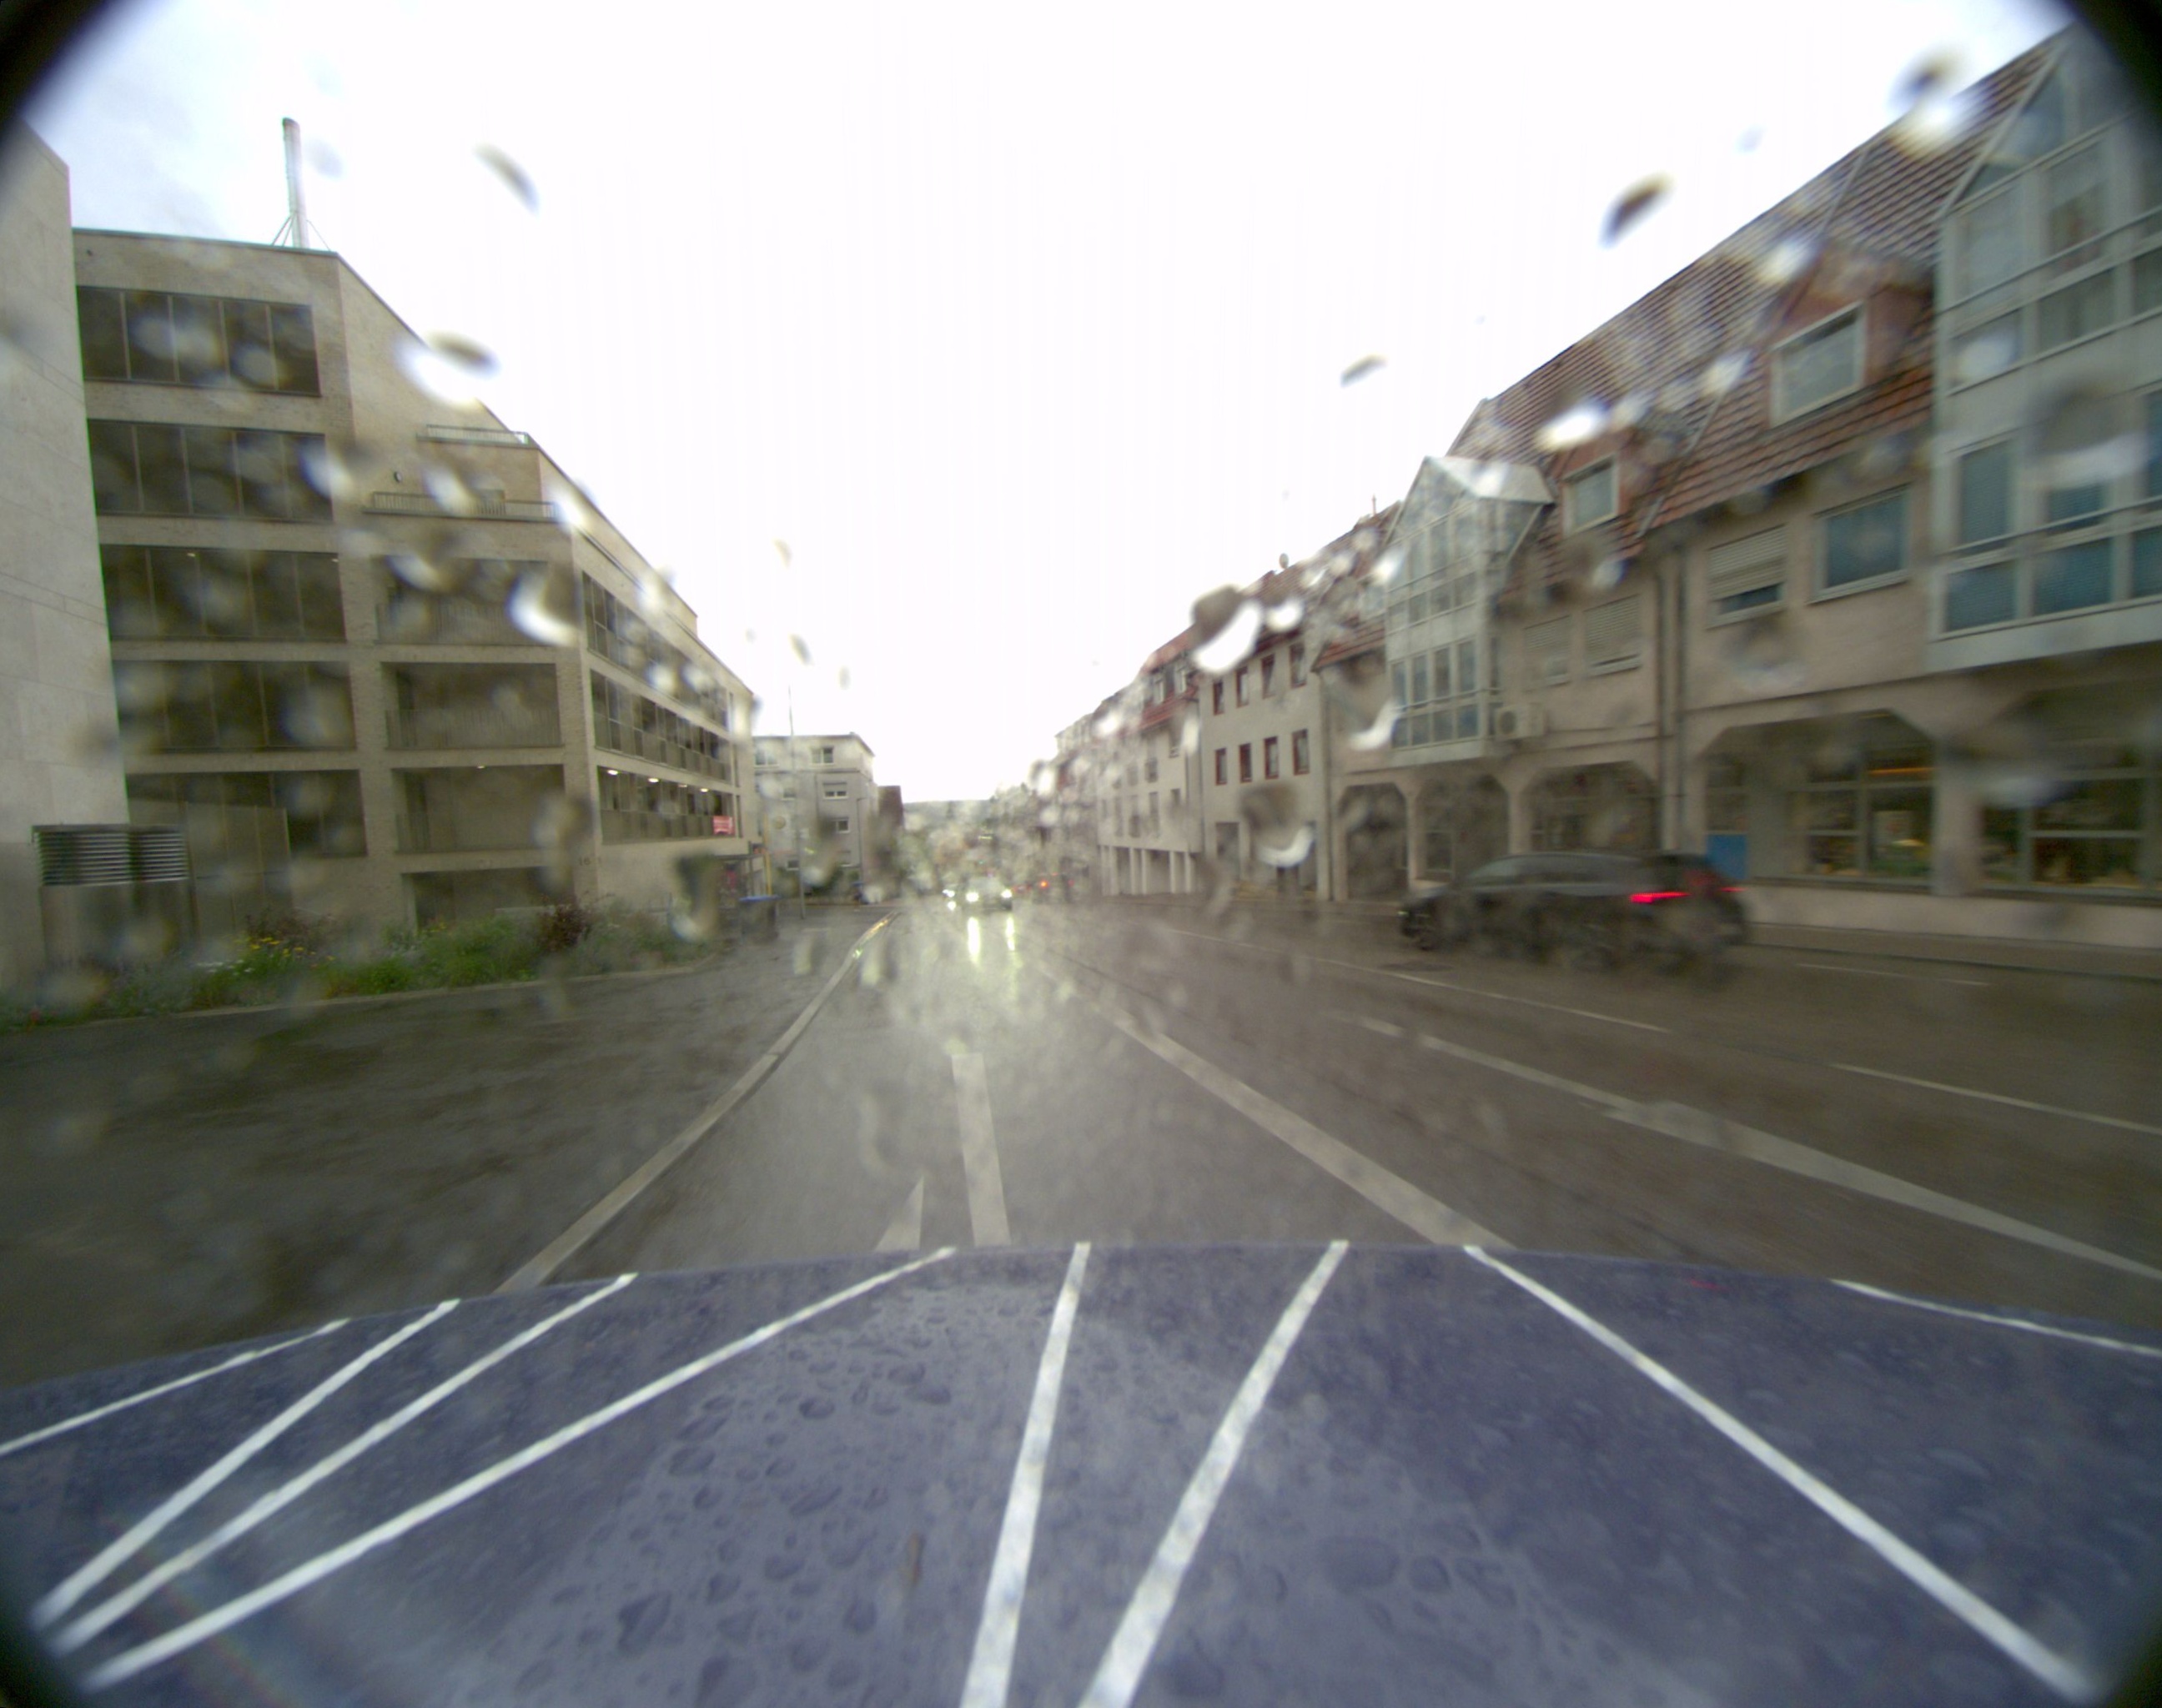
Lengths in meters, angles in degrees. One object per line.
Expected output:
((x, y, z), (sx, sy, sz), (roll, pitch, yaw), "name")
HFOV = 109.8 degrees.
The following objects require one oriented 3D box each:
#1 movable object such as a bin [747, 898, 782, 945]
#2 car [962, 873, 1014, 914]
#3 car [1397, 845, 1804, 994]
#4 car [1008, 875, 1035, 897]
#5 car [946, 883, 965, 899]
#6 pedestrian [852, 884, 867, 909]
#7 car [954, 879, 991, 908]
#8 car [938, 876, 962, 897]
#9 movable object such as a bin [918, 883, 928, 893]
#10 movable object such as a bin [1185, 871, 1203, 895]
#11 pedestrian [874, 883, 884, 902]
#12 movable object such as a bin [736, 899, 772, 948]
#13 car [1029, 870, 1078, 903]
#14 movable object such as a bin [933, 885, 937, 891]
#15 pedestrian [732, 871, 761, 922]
((-7.516, 1.593, 18.060), (0.597, 1.056, 0.578), (-3, -1, -11), "movable object such as a bin")
((-4.117, 1.659, 33.125), (1.969, 1.548, 4.620), (-3, -1, -9), "car")
((6.296, 0.708, 9.842), (1.894, 1.458, 3.994), (-2, -1, -18), "car")
((-4.484, 2.414, 57.118), (1.564, 1.526, 3.446), (-2, -2, -12), "car")
((-14.060, 4.168, 85.564), (1.969, 1.597, 4.382), (-3, -3, -9), "car")
((-13.608, 2.597, 46.664), (0.738, 1.532, 1.037), (0, -1, -7), "pedestrian")
((-7.295, 2.637, 50.654), (1.969, 1.759, 4.381), (-3, -3, -13), "car")
((-11.364, 2.853, 66.129), (1.969, 1.597, 4.382), (-3, -3, -9), "car")
((-21.698, 4.663, 104.151), (1.239, 1.327, 1.172), (-2, -2, -8), "movable object such as a bin")
((4.961, 1.284, 33.400), (0.510, 1.000, 0.584), (-4, -1, -14), "movable object such as a bin")
((-16.549, 3.149, 62.149), (0.693, 1.546, 0.710), (-4, -1, -16), "pedestrian")
((-7.438, 1.574, 17.304), (0.597, 1.056, 0.578), (-3, -1, -11), "movable object such as a bin")
((-1.574, 1.786, 41.958), (1.788, 1.620, 4.212), (-3, -1, -14), "car")
((-23.529, 5.505, 122.643), (0.597, 1.022, 0.476), (-1, -1, -8), "movable object such as a bin")
((-13.178, 1.665, 29.989), (0.785, 1.928, 1.020), (-2, -1, -10), "pedestrian")
